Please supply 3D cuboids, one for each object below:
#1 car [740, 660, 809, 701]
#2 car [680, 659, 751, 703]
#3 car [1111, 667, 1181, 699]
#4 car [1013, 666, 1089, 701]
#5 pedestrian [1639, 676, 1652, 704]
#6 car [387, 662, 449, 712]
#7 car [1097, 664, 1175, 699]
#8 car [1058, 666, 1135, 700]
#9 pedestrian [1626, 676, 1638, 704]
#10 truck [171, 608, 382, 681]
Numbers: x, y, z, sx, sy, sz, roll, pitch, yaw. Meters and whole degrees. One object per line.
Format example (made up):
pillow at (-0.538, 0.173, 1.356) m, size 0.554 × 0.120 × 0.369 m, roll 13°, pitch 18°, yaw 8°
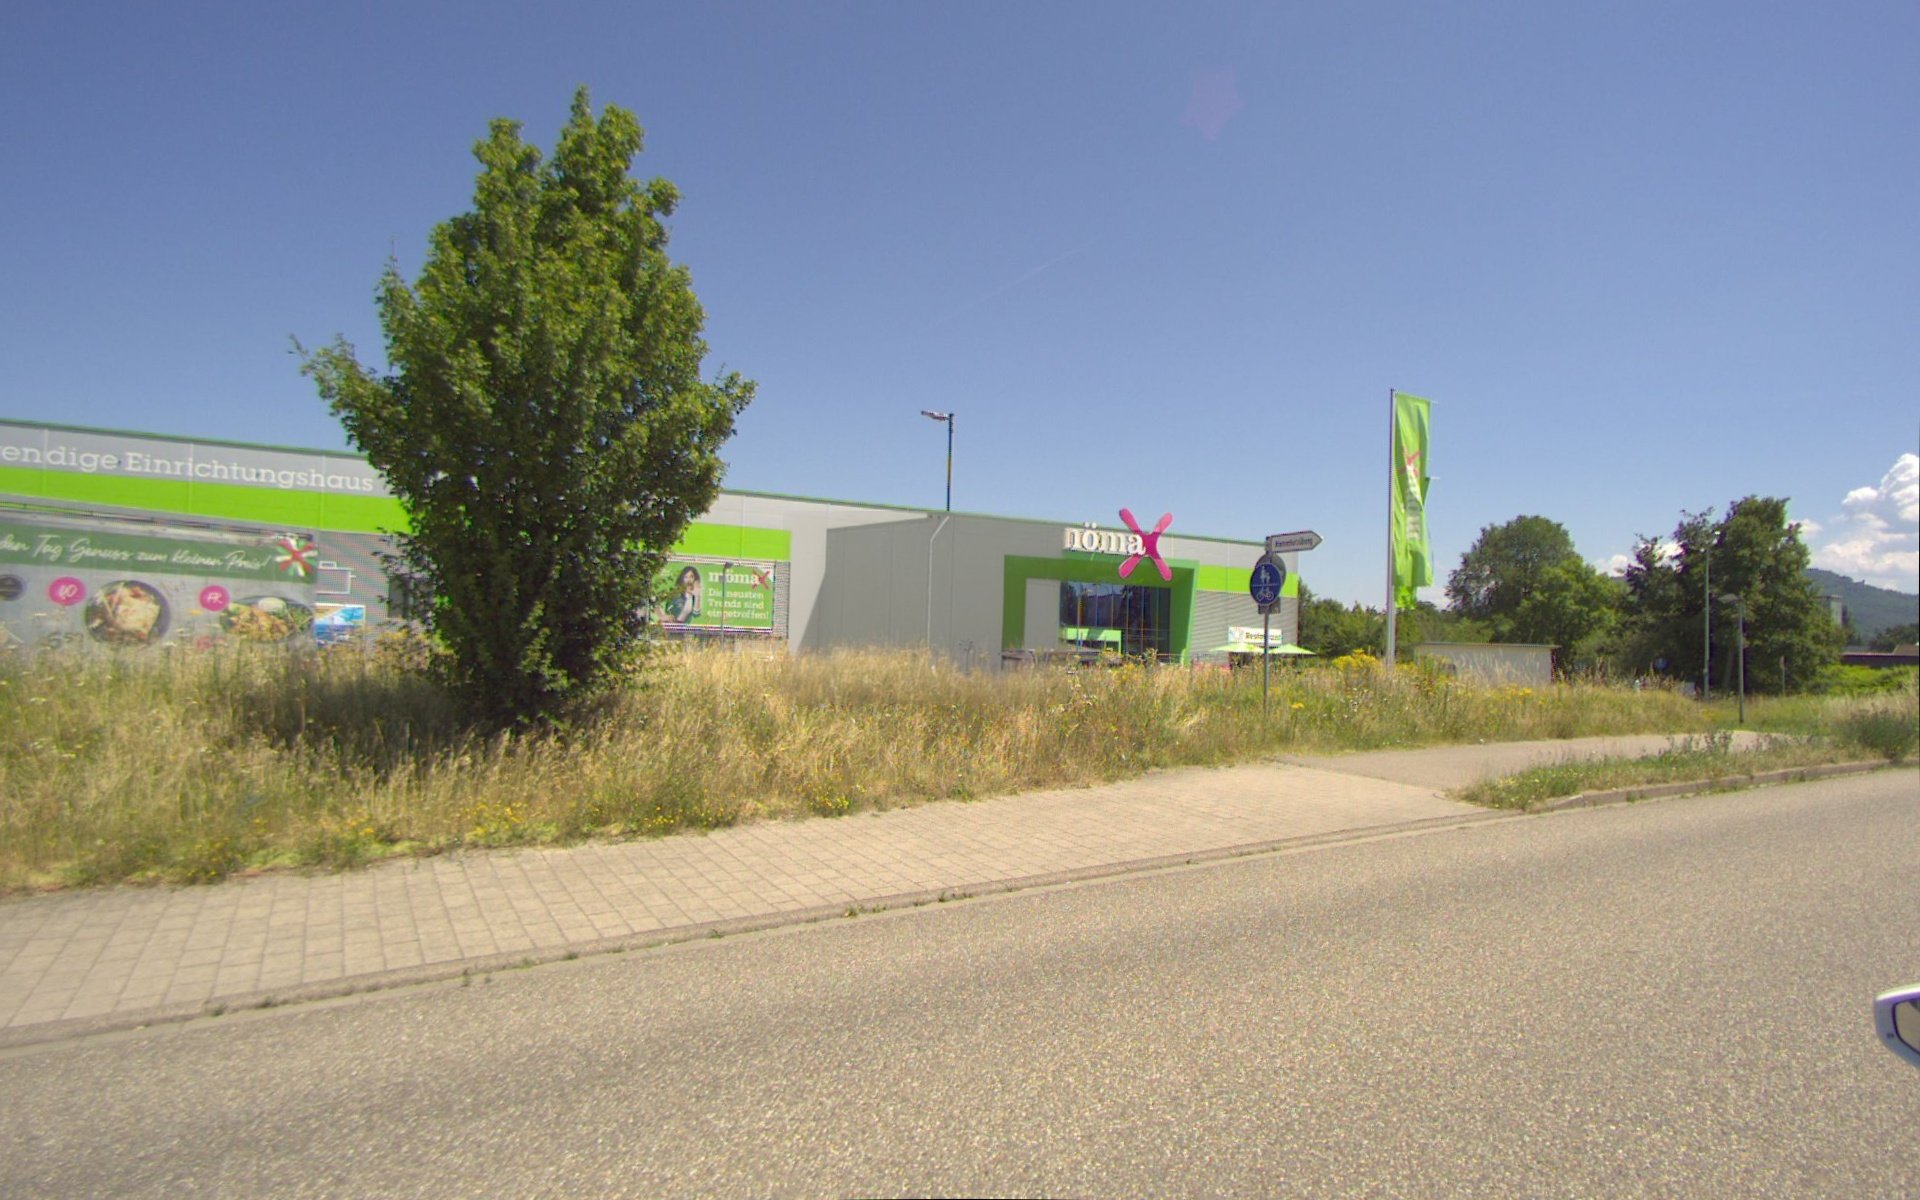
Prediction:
car at (-8.119, 3.452, 43.755) m, size 1.823 × 1.456 × 3.971 m, roll 2°, pitch -1°, yaw -28°
car at (-10.292, 3.350, 42.133) m, size 1.975 × 1.533 × 3.971 m, roll 2°, pitch -1°, yaw -28°
car at (10.856, 4.847, 58.840) m, size 1.975 × 1.533 × 3.971 m, roll 2°, pitch -1°, yaw -28°
car at (4.534, 4.146, 50.476) m, size 1.975 × 1.428 × 3.971 m, roll 2°, pitch -1°, yaw -28°
pedestrian at (42.843, 5.644, 62.776) m, size 0.619 × 1.696 × 0.596 m, roll 3°, pitch -1°, yaw 37°
car at (-23.670, 3.751, 43.974) m, size 1.972 × 1.785 × 4.248 m, roll 1°, pitch 0°, yaw -23°
car at (9.147, 4.222, 52.436) m, size 1.975 × 1.533 × 3.971 m, roll 2°, pitch -1°, yaw -28°
car at (6.920, 4.199, 51.340) m, size 1.975 × 1.435 × 3.971 m, roll 2°, pitch -1°, yaw -28°
pedestrian at (41.841, 5.603, 62.532) m, size 0.506 × 1.696 × 0.626 m, roll 3°, pitch -1°, yaw 36°
truck at (-28.173, 1.770, 41.976) m, size 2.902 × 2.719 × 7.782 m, roll 0°, pitch -1°, yaw 6°
